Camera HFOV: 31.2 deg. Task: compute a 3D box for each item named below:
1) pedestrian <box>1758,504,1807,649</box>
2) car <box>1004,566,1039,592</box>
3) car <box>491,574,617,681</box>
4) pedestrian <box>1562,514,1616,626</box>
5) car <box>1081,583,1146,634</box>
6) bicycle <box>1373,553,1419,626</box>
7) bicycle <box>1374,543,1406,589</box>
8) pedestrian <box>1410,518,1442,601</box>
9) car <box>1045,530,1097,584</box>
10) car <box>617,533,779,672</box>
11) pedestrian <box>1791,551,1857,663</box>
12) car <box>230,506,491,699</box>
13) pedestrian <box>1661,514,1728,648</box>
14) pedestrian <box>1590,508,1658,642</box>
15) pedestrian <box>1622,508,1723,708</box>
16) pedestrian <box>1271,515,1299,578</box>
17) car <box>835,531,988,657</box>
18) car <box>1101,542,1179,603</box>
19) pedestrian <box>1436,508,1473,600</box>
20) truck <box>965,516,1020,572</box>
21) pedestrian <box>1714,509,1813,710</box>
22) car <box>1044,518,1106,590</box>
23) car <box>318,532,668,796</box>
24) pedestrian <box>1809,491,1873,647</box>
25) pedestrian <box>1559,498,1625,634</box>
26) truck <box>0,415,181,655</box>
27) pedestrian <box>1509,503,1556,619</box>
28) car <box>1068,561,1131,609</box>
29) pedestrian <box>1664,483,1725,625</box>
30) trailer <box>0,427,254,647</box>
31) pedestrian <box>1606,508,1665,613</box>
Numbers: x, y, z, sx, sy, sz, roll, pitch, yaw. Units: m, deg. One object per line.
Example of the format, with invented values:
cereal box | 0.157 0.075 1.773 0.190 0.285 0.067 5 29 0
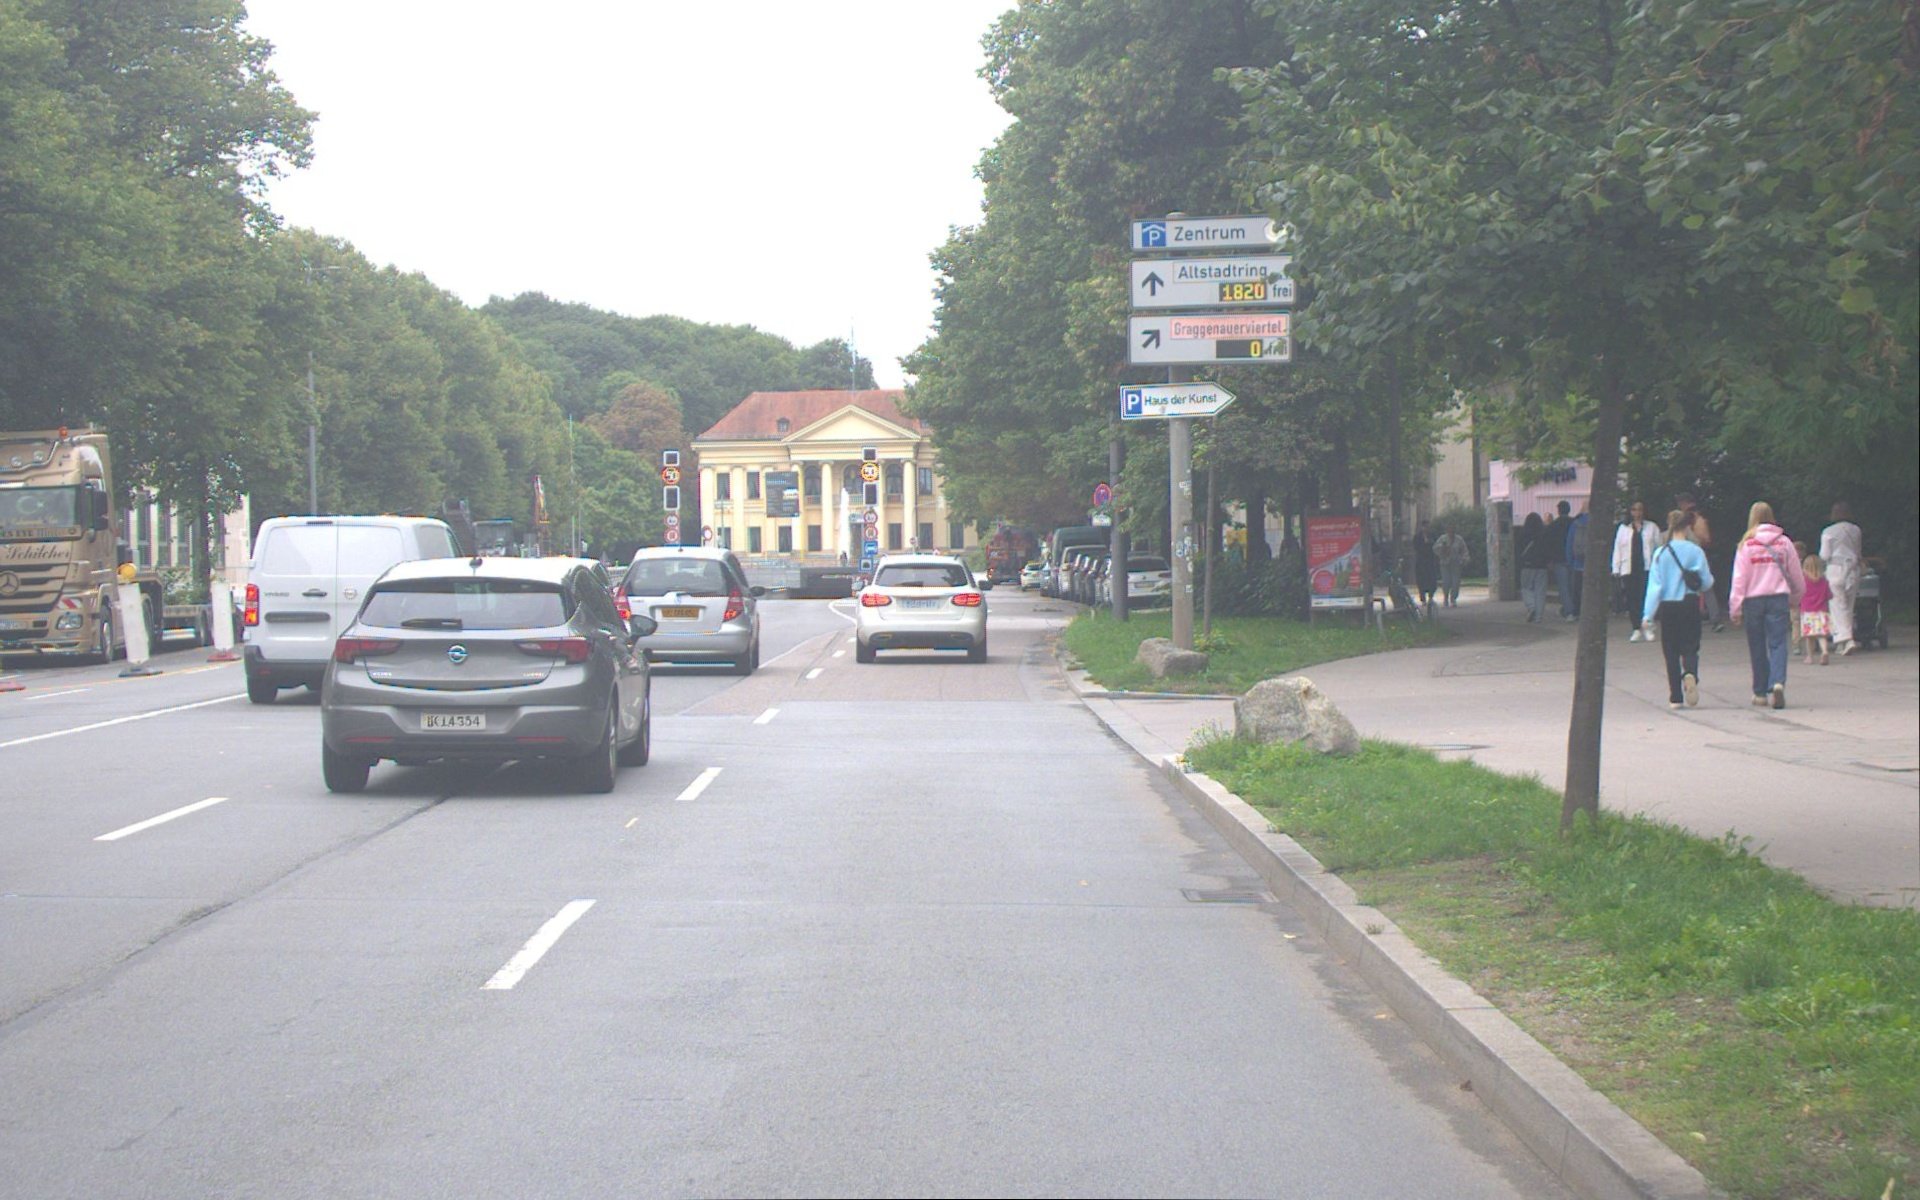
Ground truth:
pedestrian | 8.923 -0.258 37.300 0.485 1.560 0.572 1 0 15
car | 3.166 -1.079 176.519 1.724 1.319 4.028 -1 0 0
car | -6.544 0.420 55.754 1.779 1.648 4.000 1 0 -3
pedestrian | 9.850 -0.472 53.820 0.755 1.731 0.849 1 0 15
car | 4.593 0.247 103.374 1.724 1.459 4.776 -1 0 0
bicycle | 6.294 -0.158 49.676 0.384 1.018 2.079 1 0 0
bicycle | 13.523 -1.065 108.207 0.699 1.410 2.299 -1 0 0
pedestrian | 9.470 -0.819 69.866 0.580 1.670 0.553 1 0 3
car | 3.933 -1.525 122.294 1.724 1.861 4.028 -1 0 0
car | -3.260 0.010 43.328 1.779 1.648 4.000 1 0 -1
pedestrian | 8.852 0.067 35.203 0.632 1.133 0.572 1 0 15
car | -6.134 0.017 35.721 1.898 1.841 4.956 -1 0 -1
pedestrian | 9.062 -0.233 42.425 0.755 1.638 0.690 1 0 15
pedestrian | 8.214 -0.311 42.531 0.755 1.638 0.650 1 0 15
pedestrian | 5.982 0.062 28.847 0.755 1.638 0.849 1 0 15
pedestrian | 9.851 -1.623 104.260 0.764 1.904 0.771 1 0 0
car | -0.713 -0.095 47.553 1.779 1.639 4.001 1 0 -5
car | 4.765 -0.723 91.511 1.827 1.544 4.751 -1 0 0
pedestrian | 9.657 -0.899 67.128 0.630 1.768 0.782 1 0 3
truck | 1.988 -3.454 214.013 3.325 3.355 8.662 1 0 0
pedestrian | 6.709 0.072 28.687 0.755 1.638 0.849 1 0 15
car | 4.308 -1.706 129.541 1.993 2.634 4.878 1 0 -2
car | -2.947 0.366 22.440 1.710 1.547 4.000 1 0 0
pedestrian | 9.474 -0.332 36.961 0.632 1.661 0.572 1 0 15
pedestrian | 8.184 -0.442 44.526 0.755 1.731 0.849 1 0 15
truck | -15.195 -1.063 57.988 2.915 3.762 7.667 1 0 -4
pedestrian | 8.770 -0.598 52.662 0.607 1.757 0.797 1 0 3
car | 4.380 -0.476 108.666 1.822 1.459 4.028 -1 0 0
pedestrian | 9.528 -0.598 44.619 0.588 1.816 0.850 1 0 1
trailer | -15.652 -1.128 64.792 2.949 3.727 11.772 1 0 -4
pedestrian | 10.625 -0.617 54.094 0.680 1.632 0.664 1 0 -12
